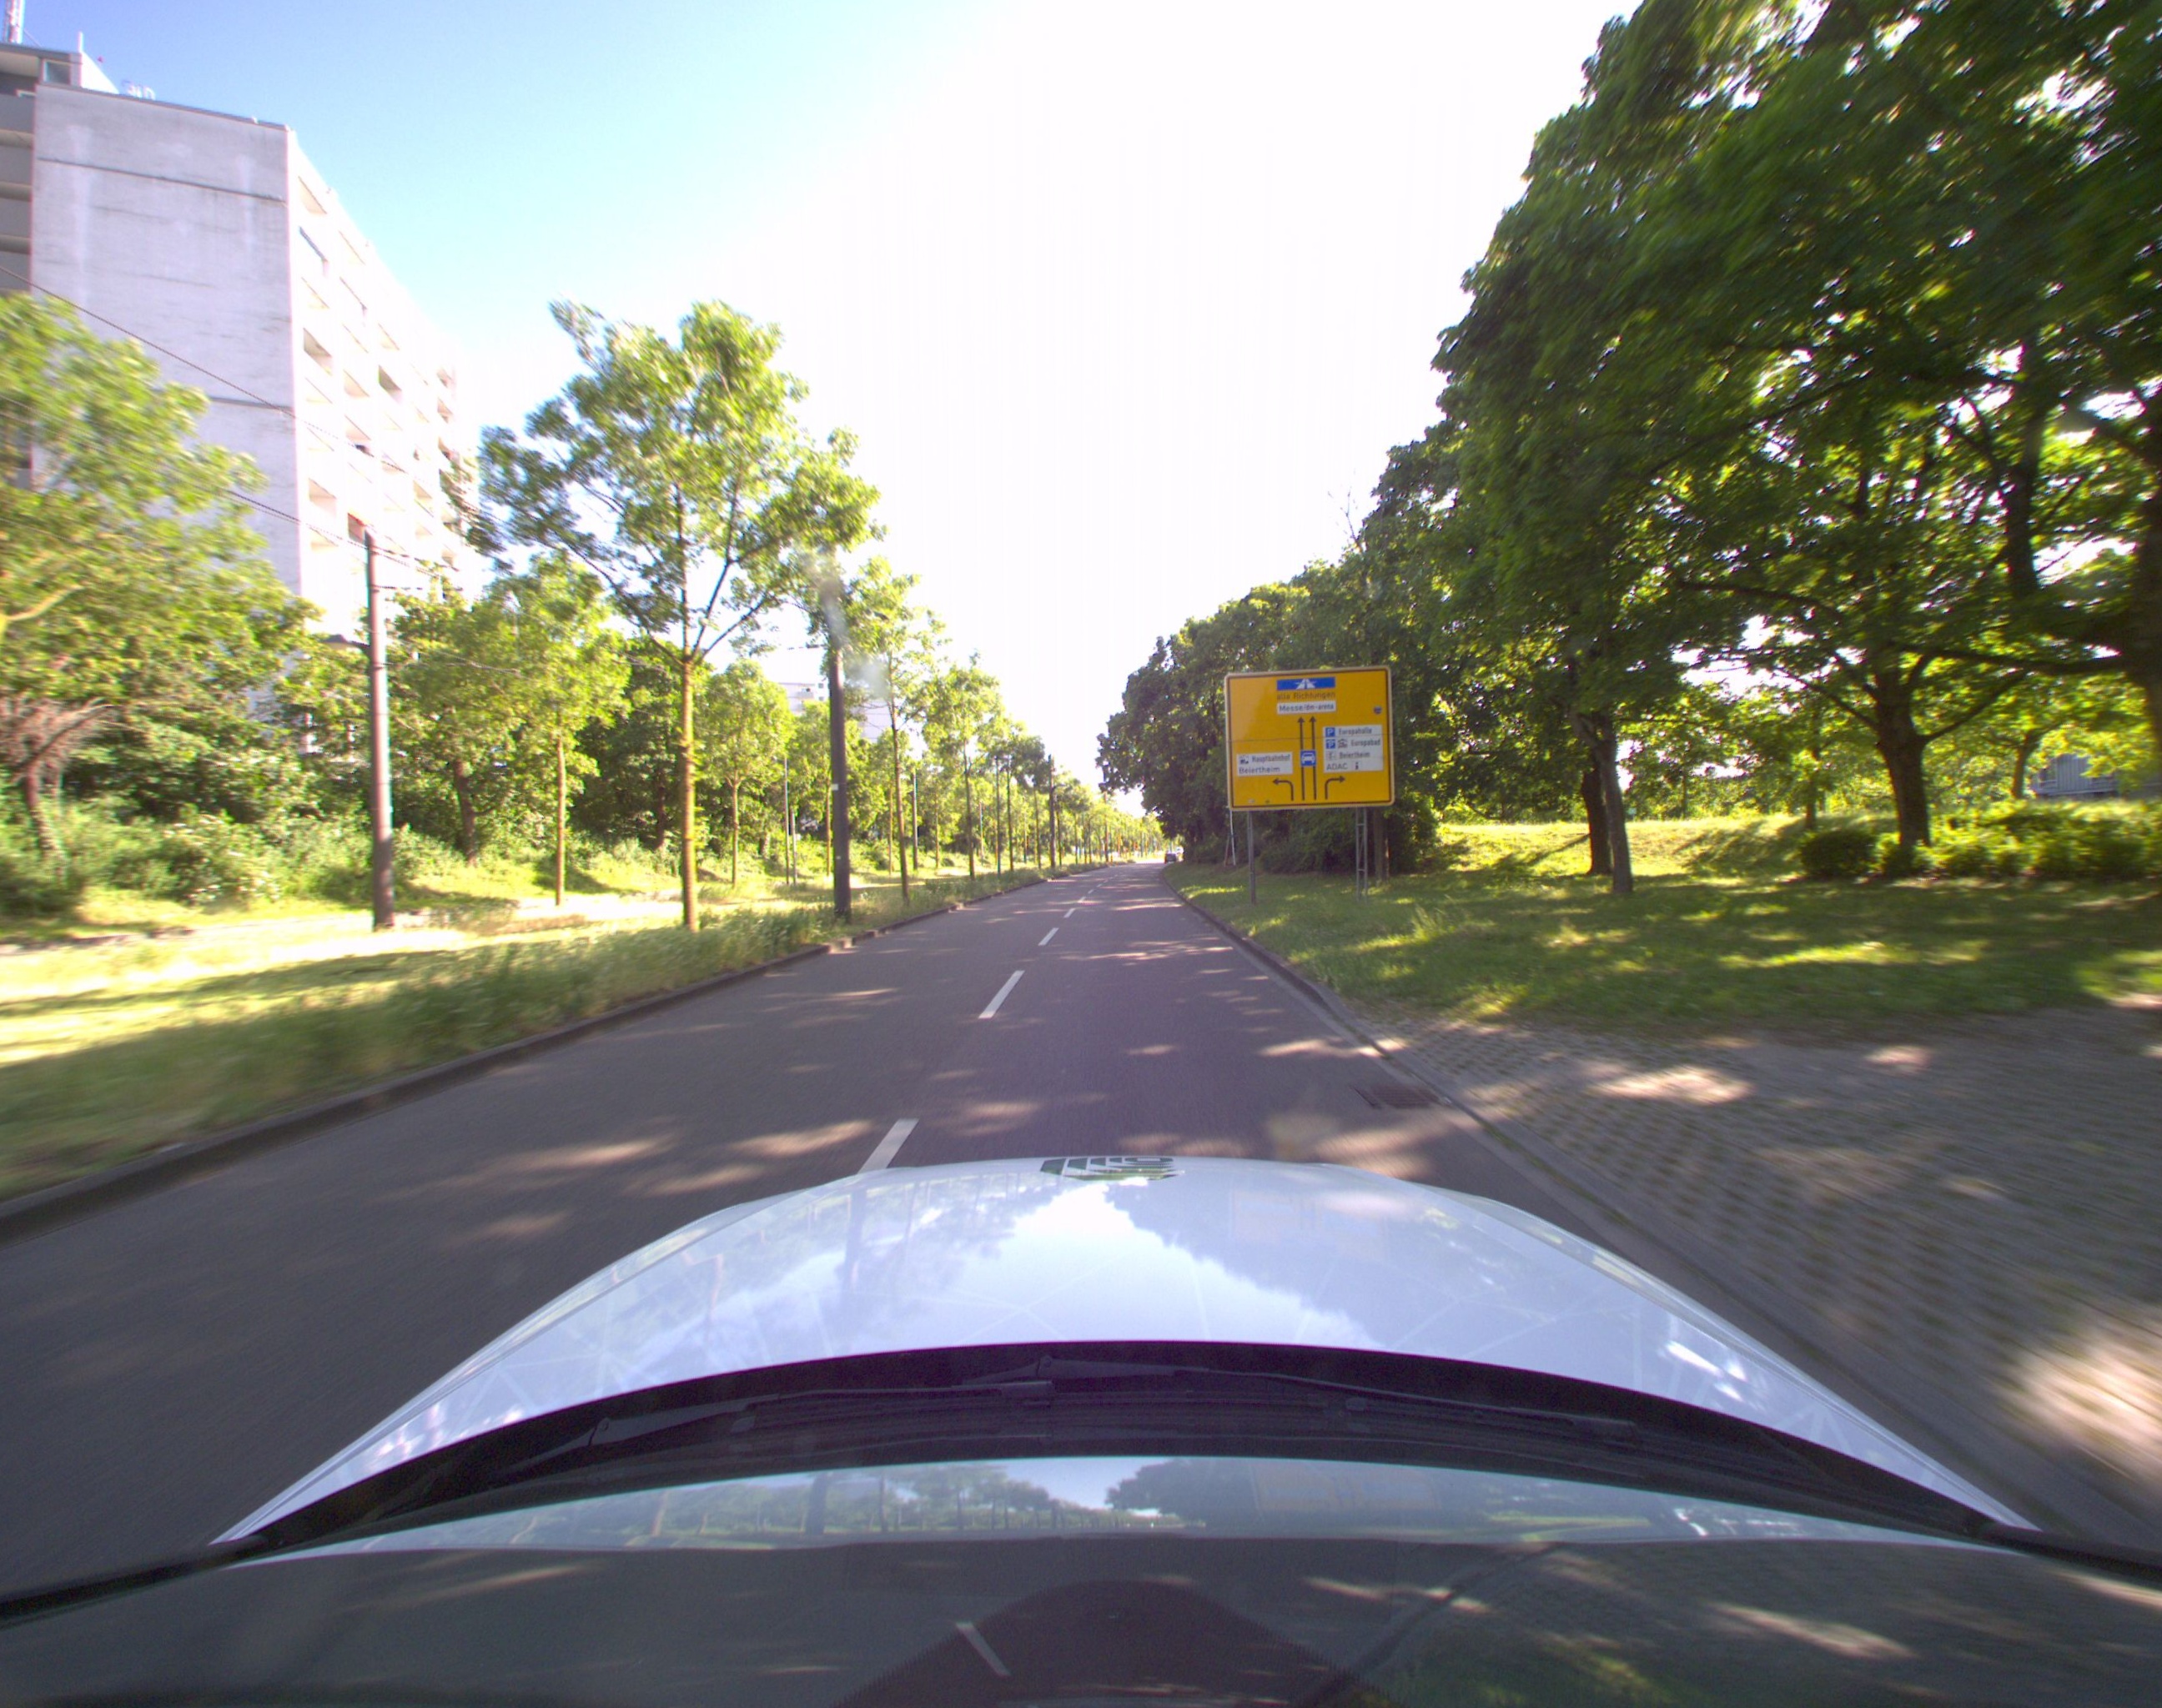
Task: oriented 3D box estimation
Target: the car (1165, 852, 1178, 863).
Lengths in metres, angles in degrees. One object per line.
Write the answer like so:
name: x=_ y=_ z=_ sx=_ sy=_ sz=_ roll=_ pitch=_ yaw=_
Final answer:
car: x=12.673 y=0.516 z=113.866 sx=1.624 sy=1.498 sz=4.246 roll=-1 pitch=0 yaw=10
